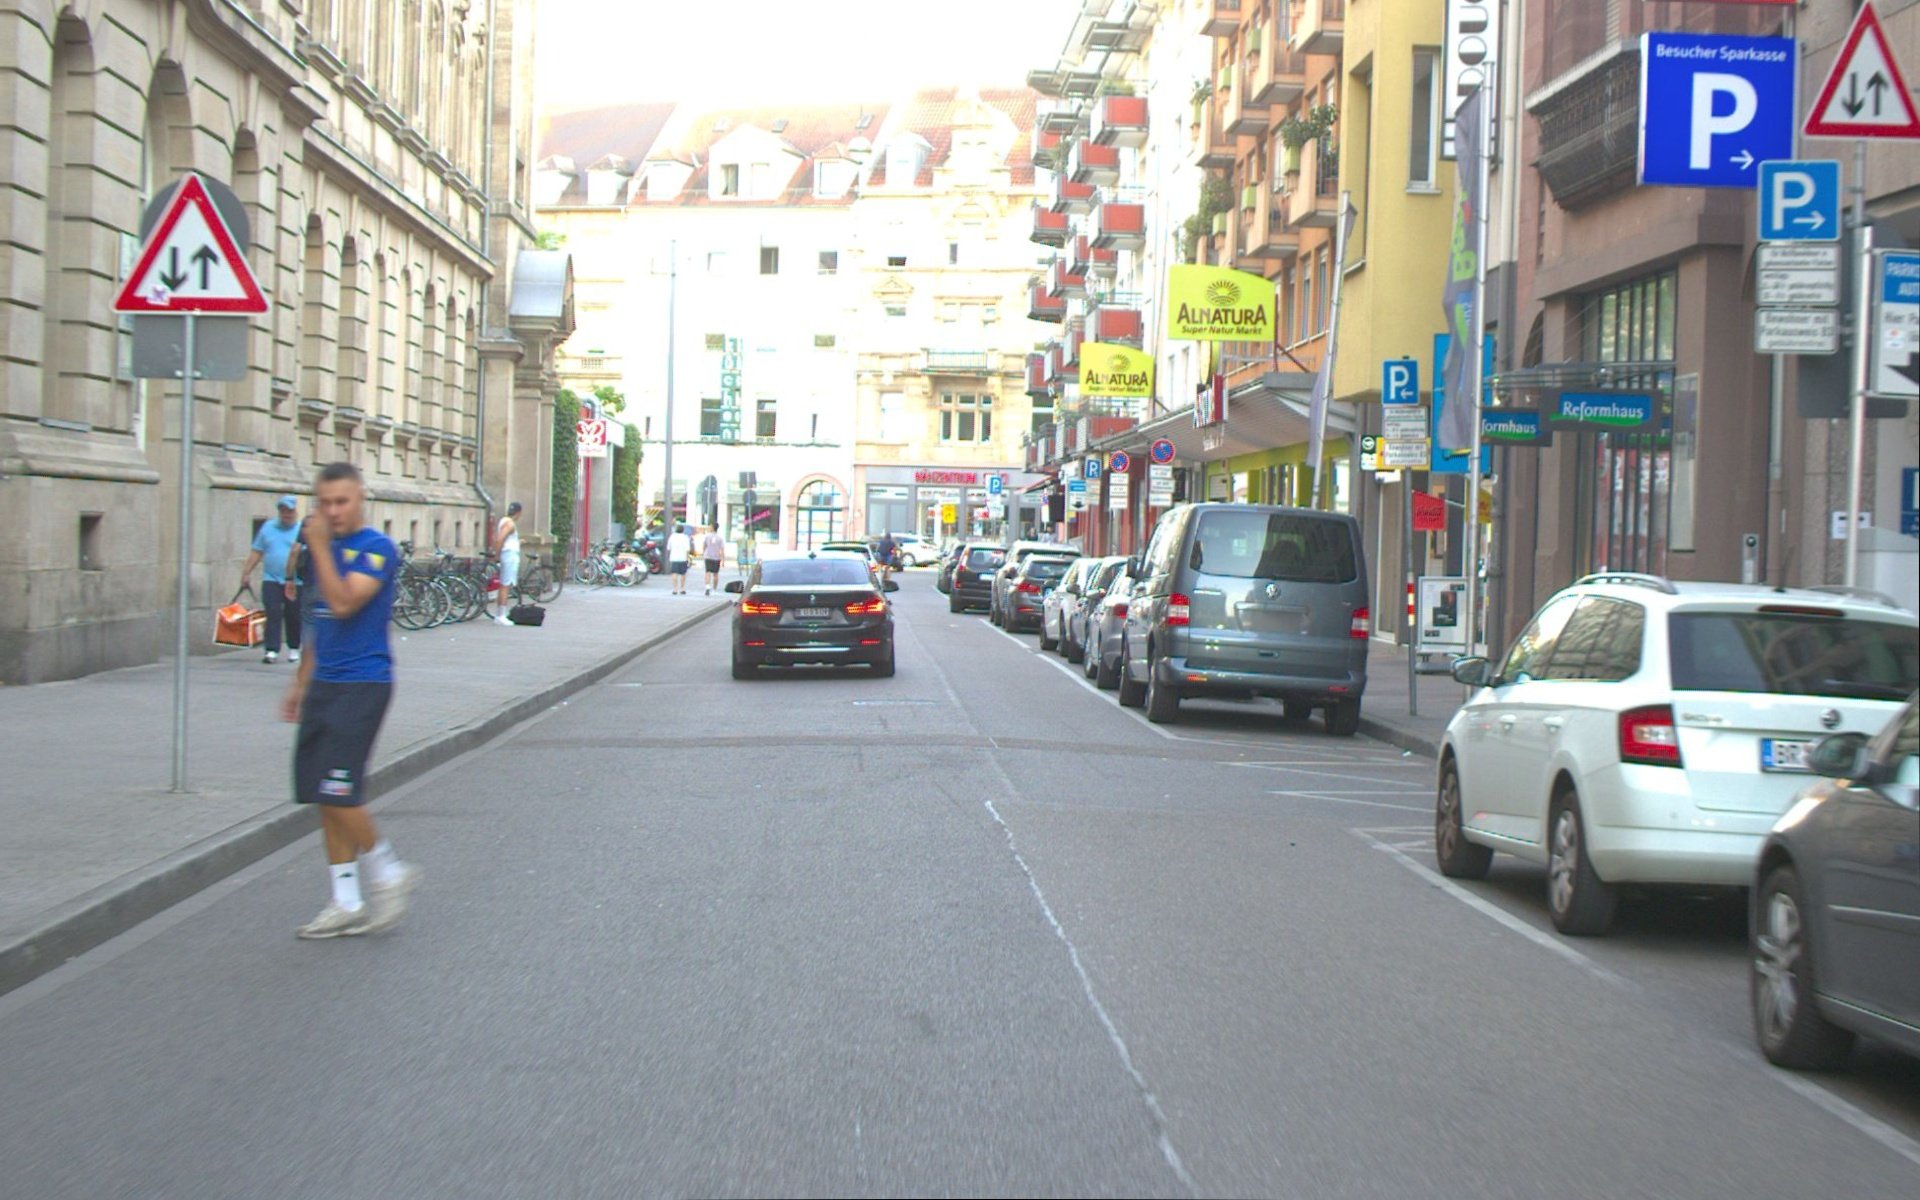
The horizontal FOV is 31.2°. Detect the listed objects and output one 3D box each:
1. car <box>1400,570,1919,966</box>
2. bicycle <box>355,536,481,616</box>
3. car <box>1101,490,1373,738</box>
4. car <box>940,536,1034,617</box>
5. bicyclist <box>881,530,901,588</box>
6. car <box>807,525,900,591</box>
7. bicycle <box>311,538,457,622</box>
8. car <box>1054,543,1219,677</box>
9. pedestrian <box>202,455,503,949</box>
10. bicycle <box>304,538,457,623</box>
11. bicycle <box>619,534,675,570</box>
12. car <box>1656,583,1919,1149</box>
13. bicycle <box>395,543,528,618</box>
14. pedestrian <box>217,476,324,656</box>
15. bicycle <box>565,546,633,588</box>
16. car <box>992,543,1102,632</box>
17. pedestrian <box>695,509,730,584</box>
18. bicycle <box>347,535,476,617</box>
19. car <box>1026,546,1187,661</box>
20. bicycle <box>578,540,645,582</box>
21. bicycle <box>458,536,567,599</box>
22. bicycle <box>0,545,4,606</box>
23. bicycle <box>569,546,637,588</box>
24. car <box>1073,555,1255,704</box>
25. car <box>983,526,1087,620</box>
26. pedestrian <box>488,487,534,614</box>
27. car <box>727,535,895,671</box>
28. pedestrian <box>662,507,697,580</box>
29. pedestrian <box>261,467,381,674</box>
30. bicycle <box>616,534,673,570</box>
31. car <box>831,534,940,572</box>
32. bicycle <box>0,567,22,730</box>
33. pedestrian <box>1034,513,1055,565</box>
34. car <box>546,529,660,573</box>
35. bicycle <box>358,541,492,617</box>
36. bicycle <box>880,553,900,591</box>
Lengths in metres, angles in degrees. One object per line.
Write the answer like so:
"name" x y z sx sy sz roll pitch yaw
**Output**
"car" 3.174 0.634 15.278 1.656 1.443 4.308 3 1 -2
"bicycle" -8.092 -0.355 51.376 1.794 1.104 0.500 3 0 -7
"car" 2.494 0.092 32.195 1.846 2.051 5.055 3 1 -2
"car" 0.634 -0.550 76.609 1.794 1.604 4.486 4 1 3
"bicyclist" -2.106 -1.245 104.856 0.523 1.750 0.620 2 1 0
"car" -2.477 -1.010 80.878 1.877 1.468 4.000 1 1 2
"bicycle" -8.025 -0.279 47.958 1.937 1.058 0.620 3 0 -7
"car" 2.227 0.089 44.398 1.618 1.511 4.174 4 1 -3
"pedestrian" -2.291 0.357 12.962 0.818 1.782 0.778 0 1 -43
"bicycle" -7.870 -0.266 46.713 1.937 1.058 0.620 3 0 -2
"bicycle" -10.444 -1.601 114.559 1.794 1.104 0.500 3 1 -6
"car" 3.313 0.731 9.306 1.656 1.443 4.446 3 1 -3
"bicycle" -7.715 -0.295 53.243 1.937 1.058 0.620 3 0 -3
"pedestrian" -6.936 -0.350 34.623 0.828 1.740 0.769 4 1 -1
"bicycle" -9.952 -0.909 94.836 1.794 1.104 0.500 2 1 -2
"car" 1.538 -0.255 62.411 1.691 1.410 4.757 4 1 -1
"pedestrian" -6.354 -1.377 88.417 0.744 1.887 1.050 3 1 -1
"bicycle" -8.003 -0.348 50.178 1.794 1.104 0.500 3 0 -7
"car" 2.065 0.013 49.568 1.691 1.406 4.640 4 1 -4
"bicycle" -9.830 -1.095 97.013 1.794 1.104 0.500 2 1 2
"bicycle" -8.608 -0.622 66.089 1.936 1.058 0.620 5 0 -16
"bicycle" -7.063 0.132 21.448 1.937 1.074 0.748 3 0 -2
"bicycle" -9.812 -0.905 94.493 1.794 1.104 0.500 2 1 -1
"car" 2.272 0.285 39.286 1.687 1.448 4.498 4 1 0
"car" 1.433 -0.561 67.374 1.752 1.662 4.757 4 1 -1
"pedestrian" -6.720 -0.746 51.471 0.588 1.845 0.755 3 1 -7
"car" -1.659 -0.014 39.493 1.765 1.370 4.791 2 1 -1
"pedestrian" -7.196 -1.447 88.178 0.741 1.806 1.009 4 1 -2
"pedestrian" -5.606 -0.258 30.203 0.809 1.744 0.969 3 0 -2
"bicycle" -10.443 -1.586 113.810 1.794 1.104 0.500 3 1 1
"car" -3.252 -2.045 150.123 4.356 1.557 1.866 1 0 21
"bicycle" -7.175 0.274 22.367 1.935 1.042 0.722 2 1 -6
"pedestrian" 2.756 -1.988 112.049 0.648 1.655 0.655 -1 1 0
"car" -12.875 -1.764 123.908 3.986 1.496 1.892 1 1 -9
"bicycle" -8.113 -0.318 52.191 1.937 1.058 0.620 3 0 -7
"bicycle" -2.121 -0.858 104.884 0.536 1.104 1.800 2 1 0
